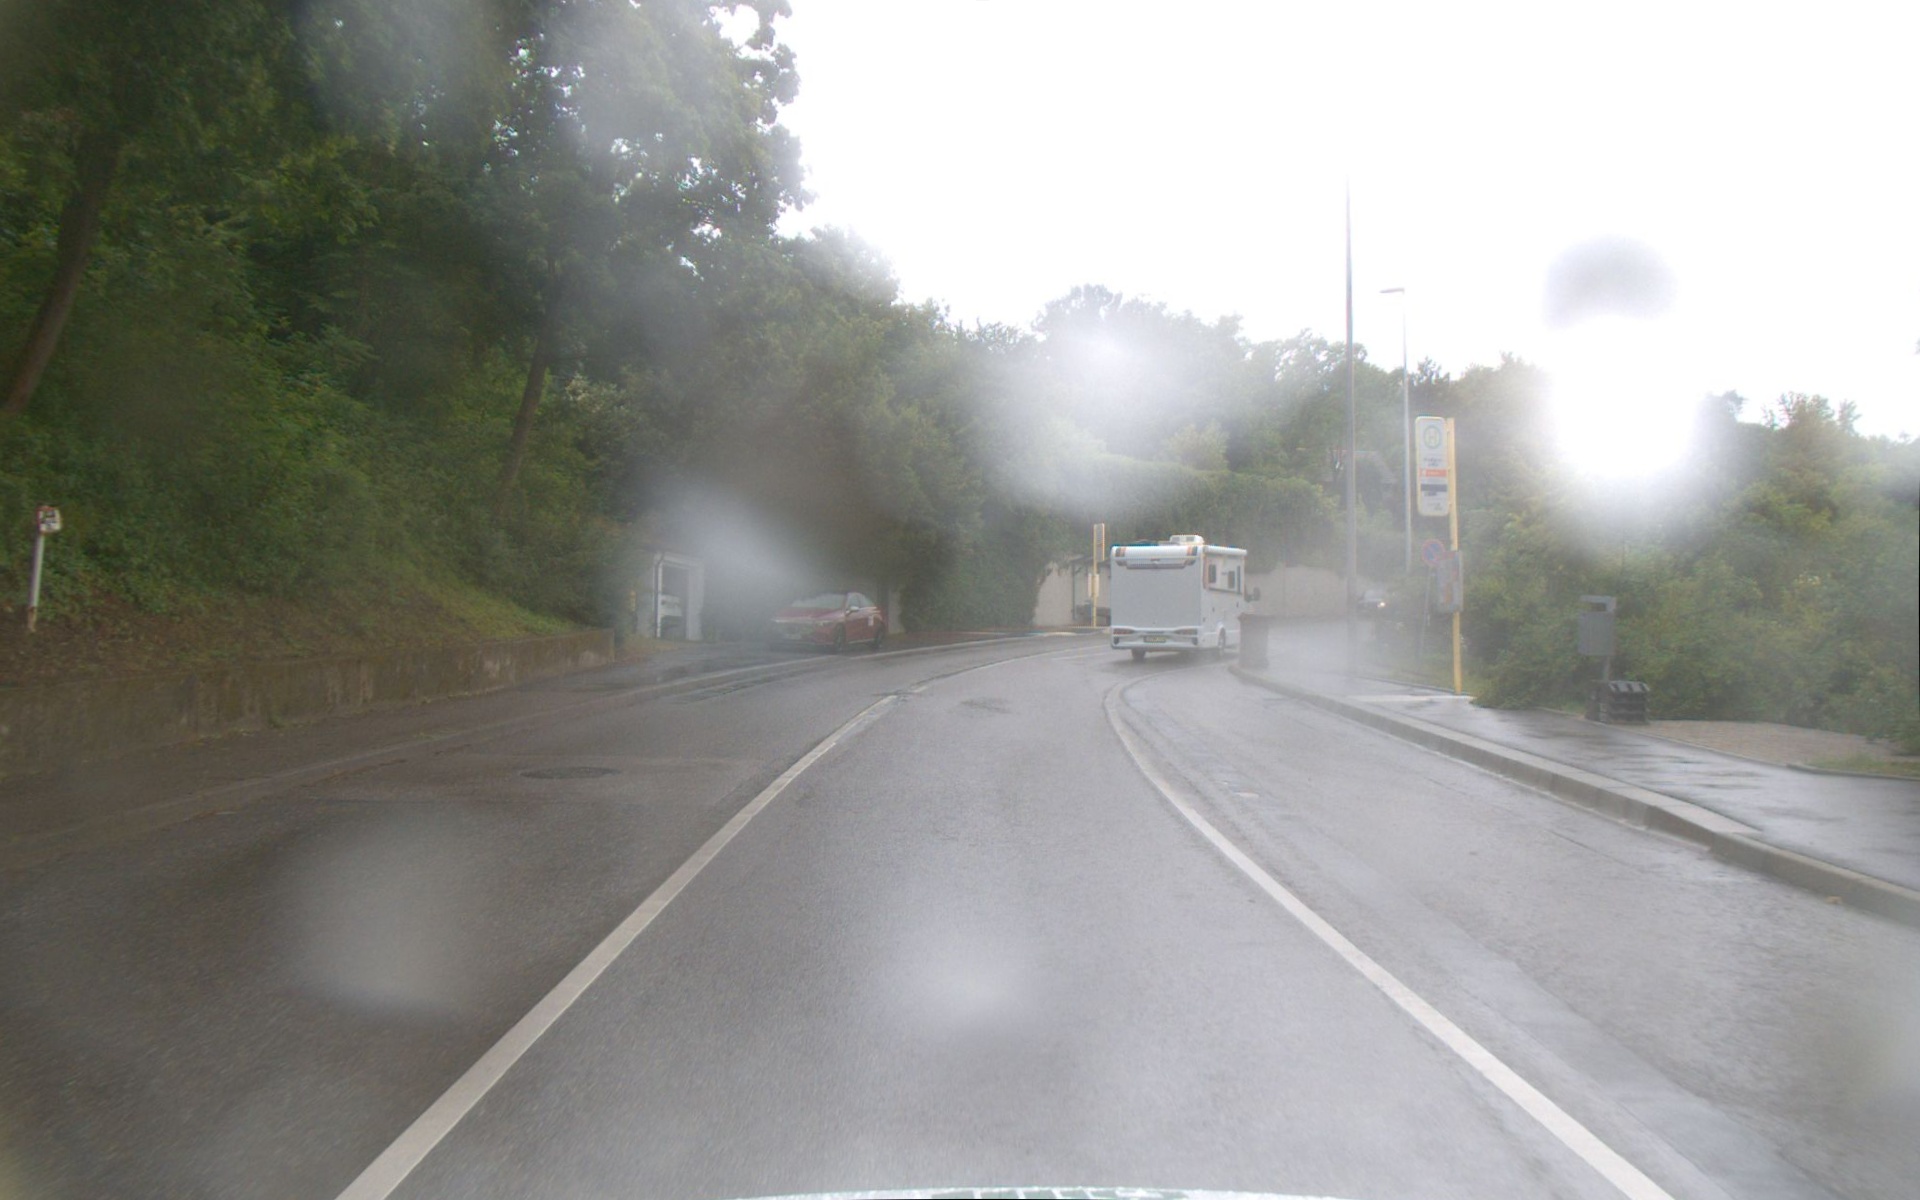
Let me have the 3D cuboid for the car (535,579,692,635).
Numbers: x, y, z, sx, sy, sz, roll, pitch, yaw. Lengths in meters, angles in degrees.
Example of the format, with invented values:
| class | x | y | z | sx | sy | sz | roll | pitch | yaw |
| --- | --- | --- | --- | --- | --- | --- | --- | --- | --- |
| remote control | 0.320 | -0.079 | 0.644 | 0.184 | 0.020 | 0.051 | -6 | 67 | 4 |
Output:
| class | x | y | z | sx | sy | sz | roll | pitch | yaw |
| --- | --- | --- | --- | --- | --- | --- | --- | --- | --- |
| car | -9.725 | 0.193 | 46.544 | 3.902 | 1.530 | 1.880 | 0 | 0 | 16 |

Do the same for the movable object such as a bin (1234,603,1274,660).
| class | x | y | z | sx | sy | sz | roll | pitch | yaw |
| --- | --- | --- | --- | --- | --- | --- | --- | --- | --- |
| movable object such as a bin | 6.031 | 0.647 | 33.969 | 0.761 | 1.153 | 0.739 | 0 | 0 | 7 |

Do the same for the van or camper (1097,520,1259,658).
| class | x | y | z | sx | sy | sz | roll | pitch | yaw |
| --- | --- | --- | --- | --- | --- | --- | --- | --- | --- |
| van or camper | 5.461 | -0.271 | 40.541 | 2.488 | 2.975 | 5.949 | -4 | -1 | 21 |

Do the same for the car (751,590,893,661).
| class | x | y | z | sx | sy | sz | roll | pitch | yaw |
| --- | --- | --- | --- | --- | --- | --- | --- | --- | --- |
| car | -3.313 | 0.577 | 40.762 | 1.951 | 1.589 | 4.656 | 1 | 1 | 16 |

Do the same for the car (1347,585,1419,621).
| class | x | y | z | sx | sy | sz | roll | pitch | yaw |
| --- | --- | --- | --- | --- | --- | --- | --- | --- | --- |
| car | 19.513 | 0.109 | 76.232 | 1.699 | 1.440 | 3.982 | -4 | -1 | 38 |

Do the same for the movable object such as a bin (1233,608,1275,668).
| class | x | y | z | sx | sy | sz | roll | pitch | yaw |
| --- | --- | --- | --- | --- | --- | --- | --- | --- | --- |
| movable object such as a bin | 5.779 | 0.735 | 32.563 | 0.761 | 1.153 | 0.739 | 0 | 0 | 7 |
